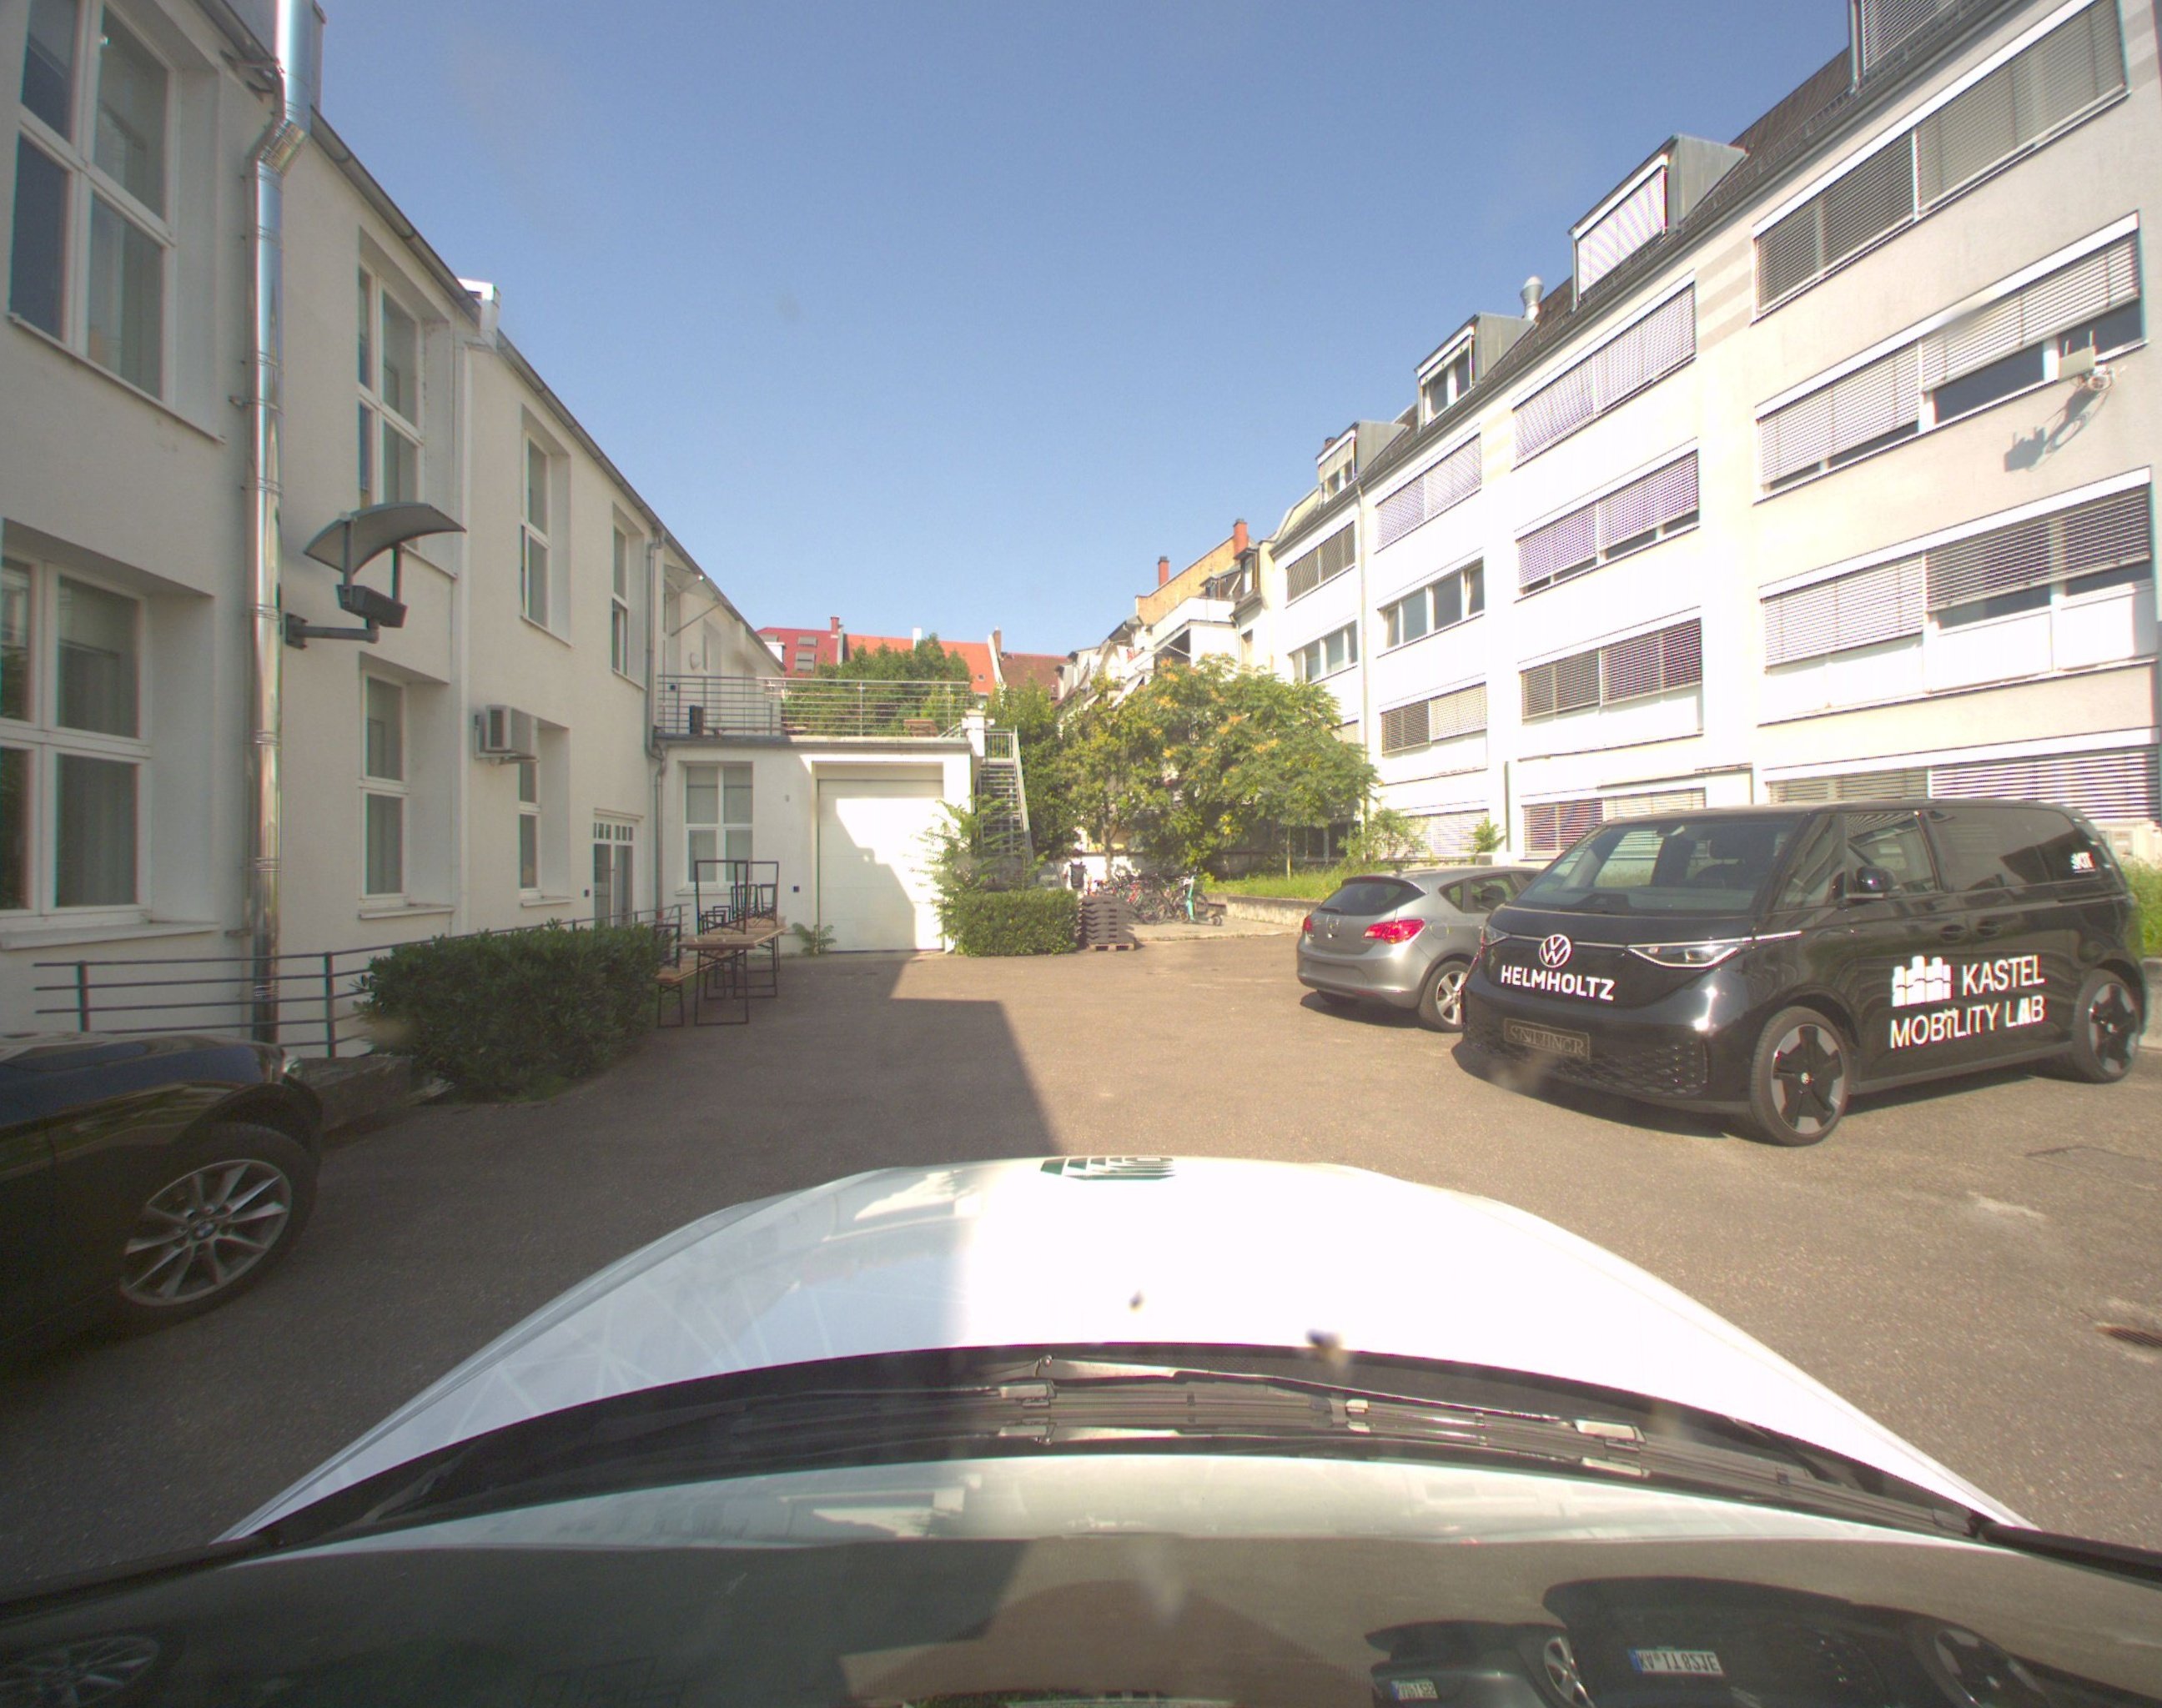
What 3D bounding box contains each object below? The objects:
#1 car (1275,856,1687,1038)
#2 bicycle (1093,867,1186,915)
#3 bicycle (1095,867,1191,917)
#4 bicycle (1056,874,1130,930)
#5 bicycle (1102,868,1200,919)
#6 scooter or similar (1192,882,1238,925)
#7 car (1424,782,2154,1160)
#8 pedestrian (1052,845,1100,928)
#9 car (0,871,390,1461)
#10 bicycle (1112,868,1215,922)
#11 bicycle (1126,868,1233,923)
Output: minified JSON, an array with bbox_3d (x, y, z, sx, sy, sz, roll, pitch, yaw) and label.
[{"bbox_3d":[4.121,0.793,8.391,3.913,1.466,1.650,-1,0,-23],"label":"car"},{"bbox_3d":[1.554,0.965,21.614,2.411,1.246,0.524,0,-1,-10],"label":"bicycle"},{"bbox_3d":[1.580,0.961,20.895,2.411,1.246,0.524,0,-1,-10],"label":"bicycle"},{"bbox_3d":[0.238,1.021,17.895,0.492,1.143,1.971,-1,0,-37],"label":"bicycle"},{"bbox_3d":[1.743,0.968,20.347,2.411,1.246,0.524,0,-1,-10],"label":"bicycle"},{"bbox_3d":[3.040,1.114,18.474,0.987,0.924,0.362,-1,-1,43],"label":"scooter or similar"},{"bbox_3d":[4.816,0.551,5.632,4.348,1.859,1.902,-1,0,-19],"label":"car"},{"bbox_3d":[-0.109,0.708,17.896,0.865,1.772,0.604,1,-1,-39],"label":"pedestrian"},{"bbox_3d":[-3.393,0.757,1.235,1.794,1.428,4.119,0,-1,-12],"label":"car"},{"bbox_3d":[1.985,0.973,19.535,2.411,1.246,0.524,0,-1,-10],"label":"bicycle"},{"bbox_3d":[2.286,0.945,18.908,2.411,1.246,0.524,0,-1,-10],"label":"bicycle"}]
